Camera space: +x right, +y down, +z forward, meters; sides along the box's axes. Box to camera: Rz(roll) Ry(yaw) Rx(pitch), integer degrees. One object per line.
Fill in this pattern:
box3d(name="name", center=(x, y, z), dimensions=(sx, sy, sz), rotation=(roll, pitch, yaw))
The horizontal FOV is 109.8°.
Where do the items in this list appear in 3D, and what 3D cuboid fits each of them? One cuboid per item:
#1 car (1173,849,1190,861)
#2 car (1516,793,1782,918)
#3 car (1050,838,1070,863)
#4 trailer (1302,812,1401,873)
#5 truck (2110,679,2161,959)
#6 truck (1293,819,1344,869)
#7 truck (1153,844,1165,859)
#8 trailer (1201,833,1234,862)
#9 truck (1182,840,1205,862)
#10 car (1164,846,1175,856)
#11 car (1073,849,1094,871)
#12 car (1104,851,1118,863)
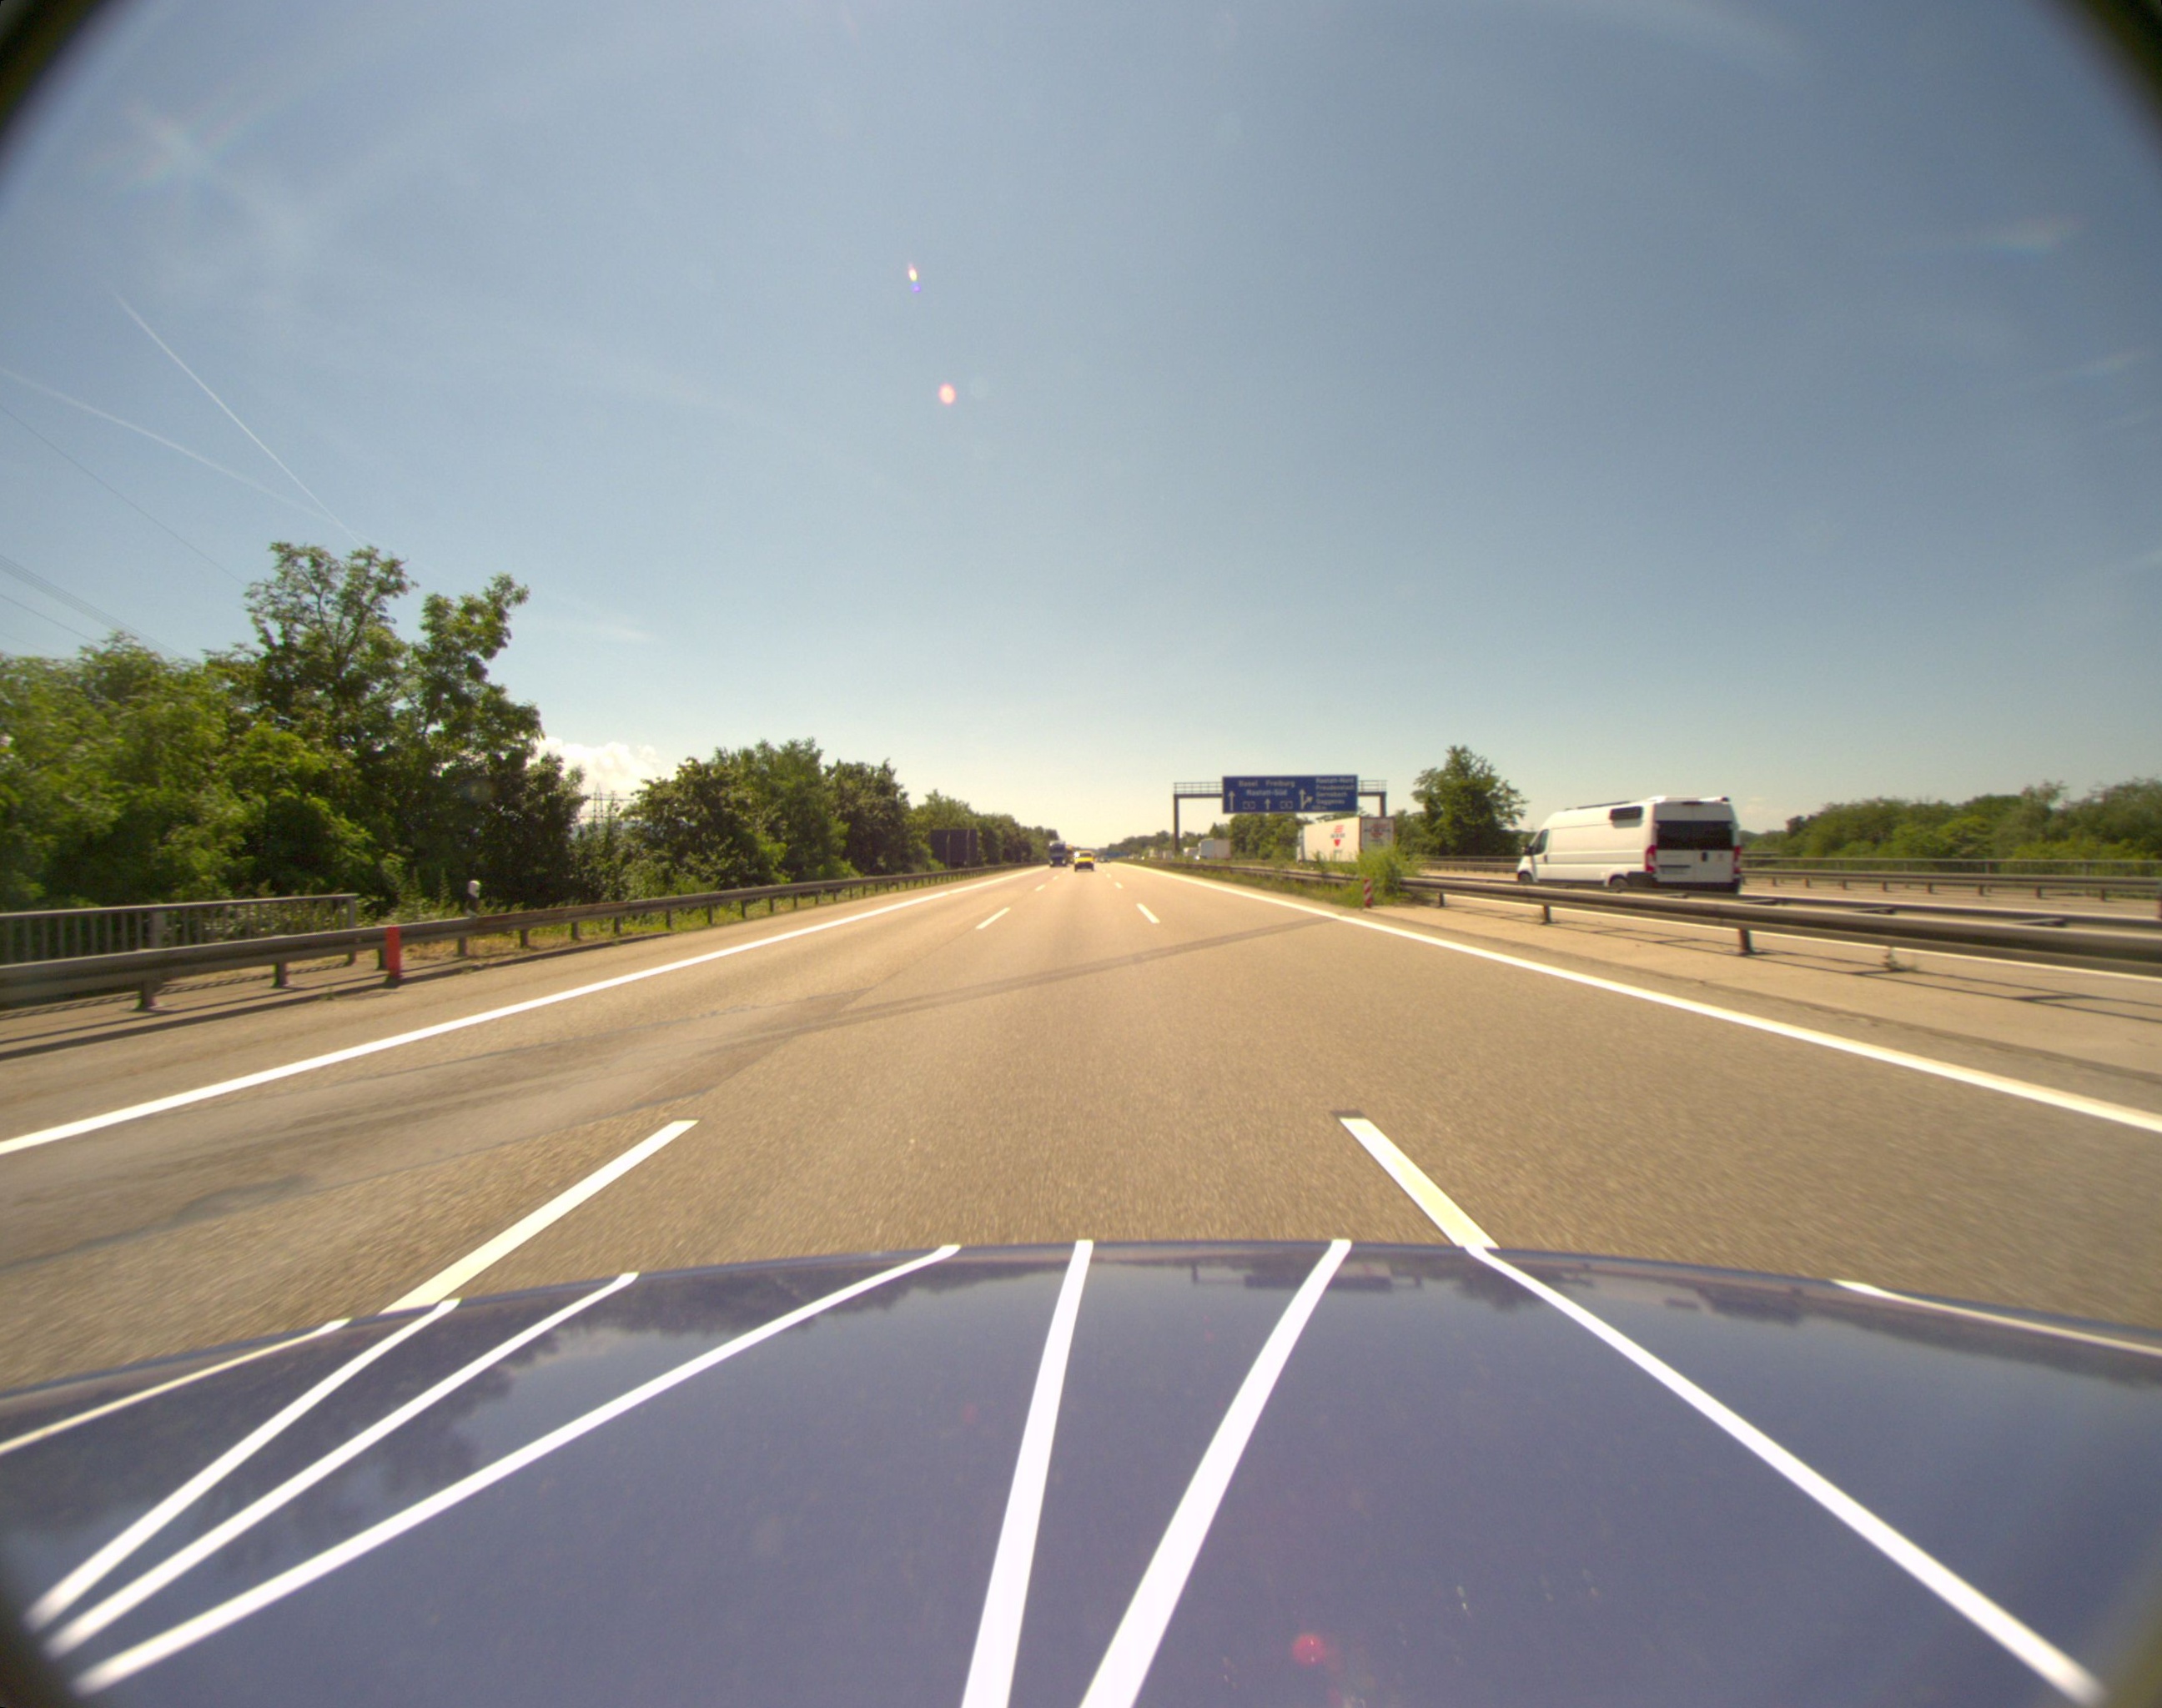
box3d(name="car", center=(14.644, 0.154, 111.129), dimensions=(1.998, 1.628, 4.000), rotation=(-1, 0, 1))
box3d(name="car", center=(13.658, 0.024, 18.983), dimensions=(2.174, 2.569, 6.038), rotation=(-1, 0, 1))
box3d(name="car", center=(-3.171, -0.507, 115.299), dimensions=(2.686, 3.724, 6.270), rotation=(-1, 0, 1))
box3d(name="trailer", center=(21.226, -0.844, 60.865), dimensions=(2.750, 4.182, 13.946), rotation=(-3, 0, 0))
box3d(name="truck", center=(16.345, -0.518, 6.291), dimensions=(2.863, 3.896, 9.495), rotation=(-3, 0, 2))
box3d(name="truck", center=(21.176, -0.877, 67.908), dimensions=(2.750, 4.182, 5.295), rotation=(-3, 1, 0))
box3d(name="truck", center=(24.198, -0.759, 235.449), dimensions=(2.937, 4.328, 8.240), rotation=(-3, 0, 1))
box3d(name="trailer", center=(21.967, -0.993, 122.752), dimensions=(2.750, 4.282, 13.947), rotation=(-3, 0, 0))
box3d(name="truck", center=(22.633, -0.664, 153.788), dimensions=(3.243, 4.110, 8.606), rotation=(-3, 0, 0))
box3d(name="car", center=(24.353, -0.818, 209.596), dimensions=(2.370, 2.522, 4.519), rotation=(-1, 0, 1))
box3d(name="car", center=(0.265, 0.553, 73.993), dimensions=(1.955, 2.002, 5.432), rotation=(-1, 0, 1))
box3d(name="car", center=(6.178, 0.613, 157.517), dimensions=(2.686, 2.510, 5.967), rotation=(-1, 0, 1))
